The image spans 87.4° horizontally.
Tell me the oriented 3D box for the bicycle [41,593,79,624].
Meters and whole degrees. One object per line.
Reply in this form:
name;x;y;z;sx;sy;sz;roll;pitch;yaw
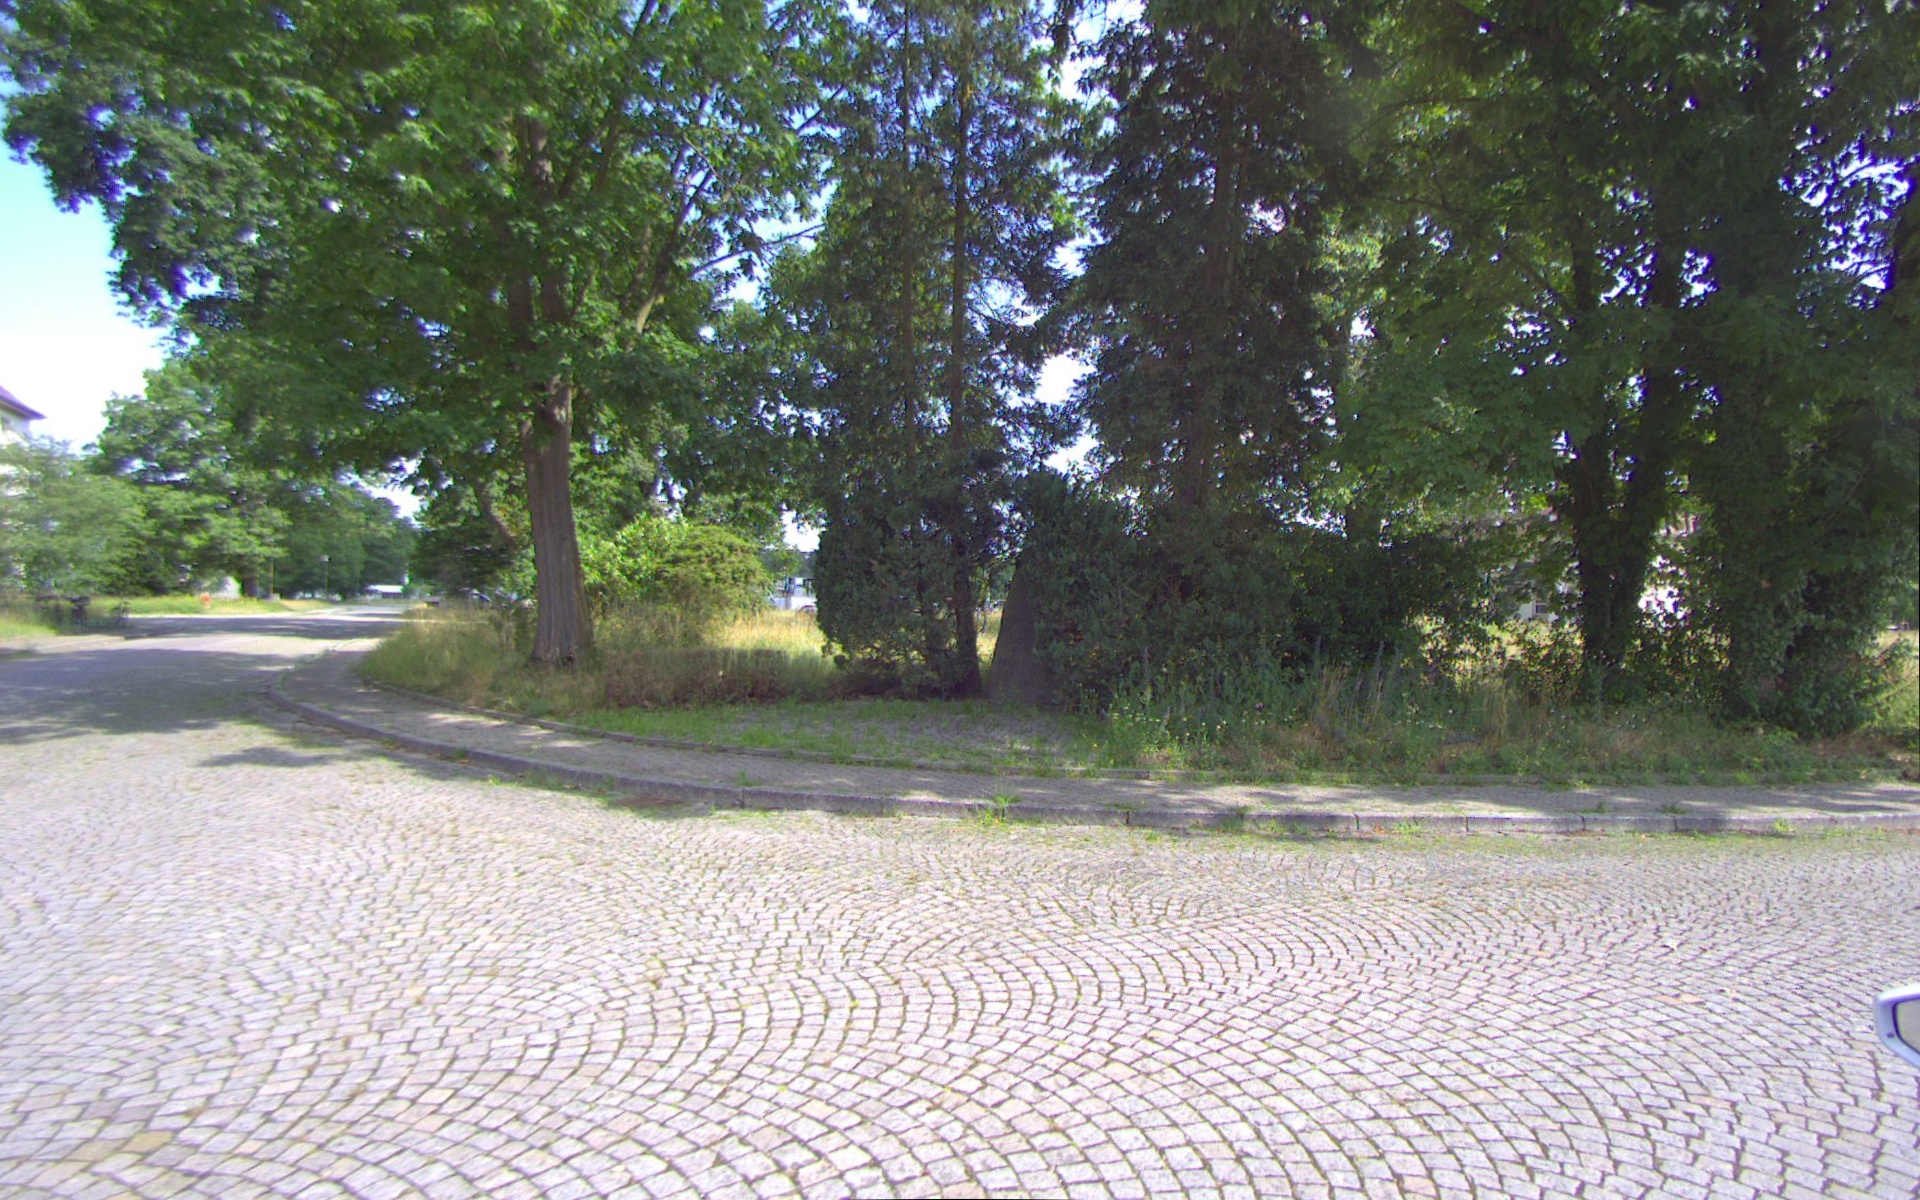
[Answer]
bicycle;-32.865;0.295;36.698;0.553;1.113;2.197;1;0;-30

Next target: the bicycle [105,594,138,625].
bicycle;-31.276;0.351;37.503;0.553;1.113;2.197;1;0;-30

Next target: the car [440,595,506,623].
car;-38.495;0.699;79.538;4.579;2.018;1.989;2;1;-23

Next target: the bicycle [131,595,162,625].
bicycle;-30.837;0.360;38.084;0.553;1.113;2.197;1;0;-30

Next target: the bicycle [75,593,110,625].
bicycle;-32.065;0.316;37.155;0.553;1.113;2.197;1;0;-30

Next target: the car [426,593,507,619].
car;-41.005;0.514;83.653;5.918;2.018;1.989;2;1;-23
